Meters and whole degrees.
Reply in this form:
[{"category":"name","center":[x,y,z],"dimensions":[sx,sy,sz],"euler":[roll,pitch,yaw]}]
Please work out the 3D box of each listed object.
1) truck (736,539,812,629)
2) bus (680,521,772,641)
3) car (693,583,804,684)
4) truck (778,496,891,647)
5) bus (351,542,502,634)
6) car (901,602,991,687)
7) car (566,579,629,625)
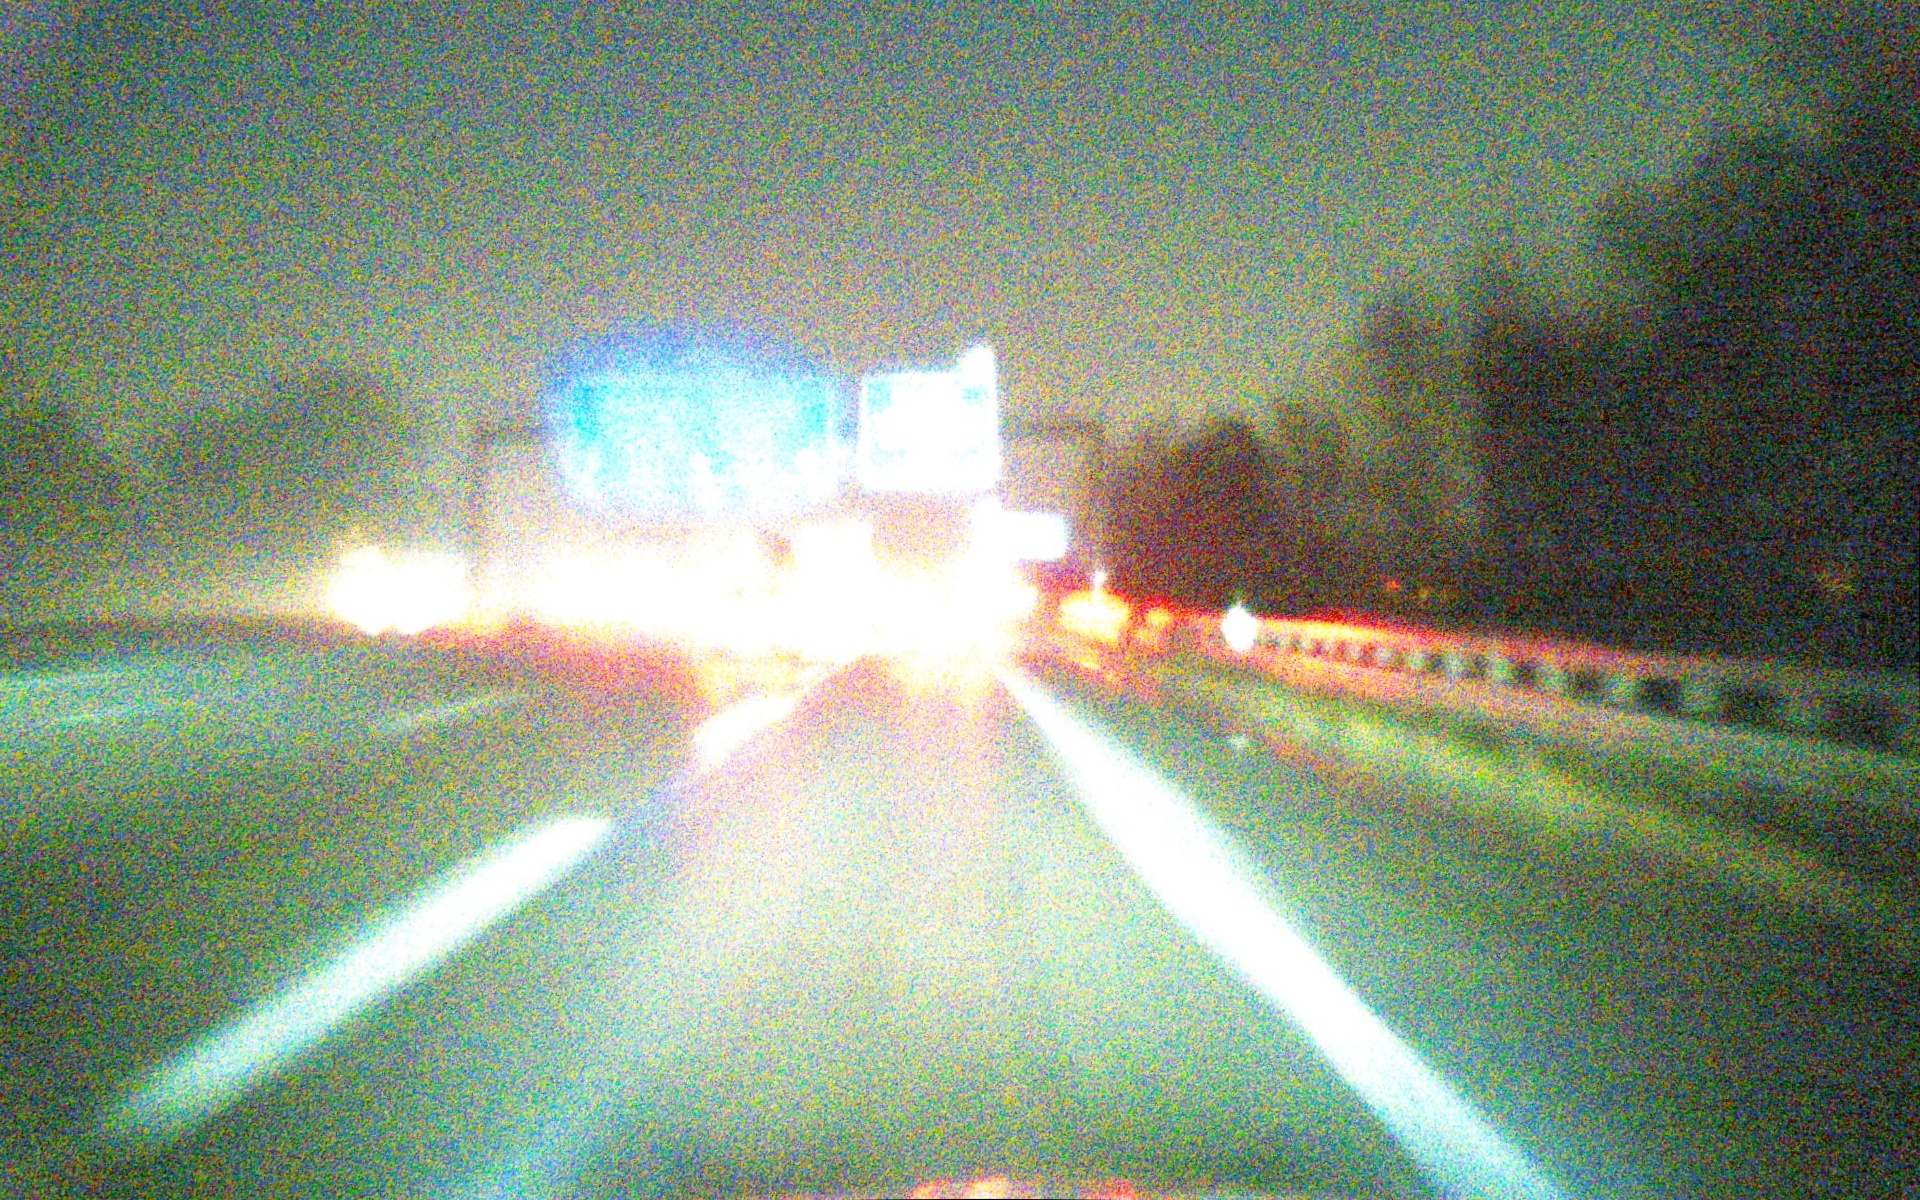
[{"category":"truck","center":[-12.522,-1.010,112.519],"dimensions":[4.125,5.747,11.463],"euler":[1,0,-2]},{"category":"bus","center":[-9.727,-0.718,69.844],"dimensions":[3.036,4.587,10.903],"euler":[1,0,-4]},{"category":"car","center":[-4.622,0.703,36.790],"dimensions":[2.084,2.049,4.642],"euler":[1,0,-3]},{"category":"truck","center":[-5.097,-1.087,69.991],"dimensions":[4.125,5.747,11.463],"euler":[1,0,-2]},{"category":"bus","center":[-29.202,-0.591,91.709],"dimensions":[3.012,4.568,17.008],"euler":[1,0,-1]},{"category":"car","center":[-0.350,0.983,38.523],"dimensions":[1.953,1.839,3.999],"euler":[1,0,-1]},{"category":"car","center":[-13.605,0.069,62.302],"dimensions":[1.956,1.624,3.993],"euler":[1,0,-7]}]
